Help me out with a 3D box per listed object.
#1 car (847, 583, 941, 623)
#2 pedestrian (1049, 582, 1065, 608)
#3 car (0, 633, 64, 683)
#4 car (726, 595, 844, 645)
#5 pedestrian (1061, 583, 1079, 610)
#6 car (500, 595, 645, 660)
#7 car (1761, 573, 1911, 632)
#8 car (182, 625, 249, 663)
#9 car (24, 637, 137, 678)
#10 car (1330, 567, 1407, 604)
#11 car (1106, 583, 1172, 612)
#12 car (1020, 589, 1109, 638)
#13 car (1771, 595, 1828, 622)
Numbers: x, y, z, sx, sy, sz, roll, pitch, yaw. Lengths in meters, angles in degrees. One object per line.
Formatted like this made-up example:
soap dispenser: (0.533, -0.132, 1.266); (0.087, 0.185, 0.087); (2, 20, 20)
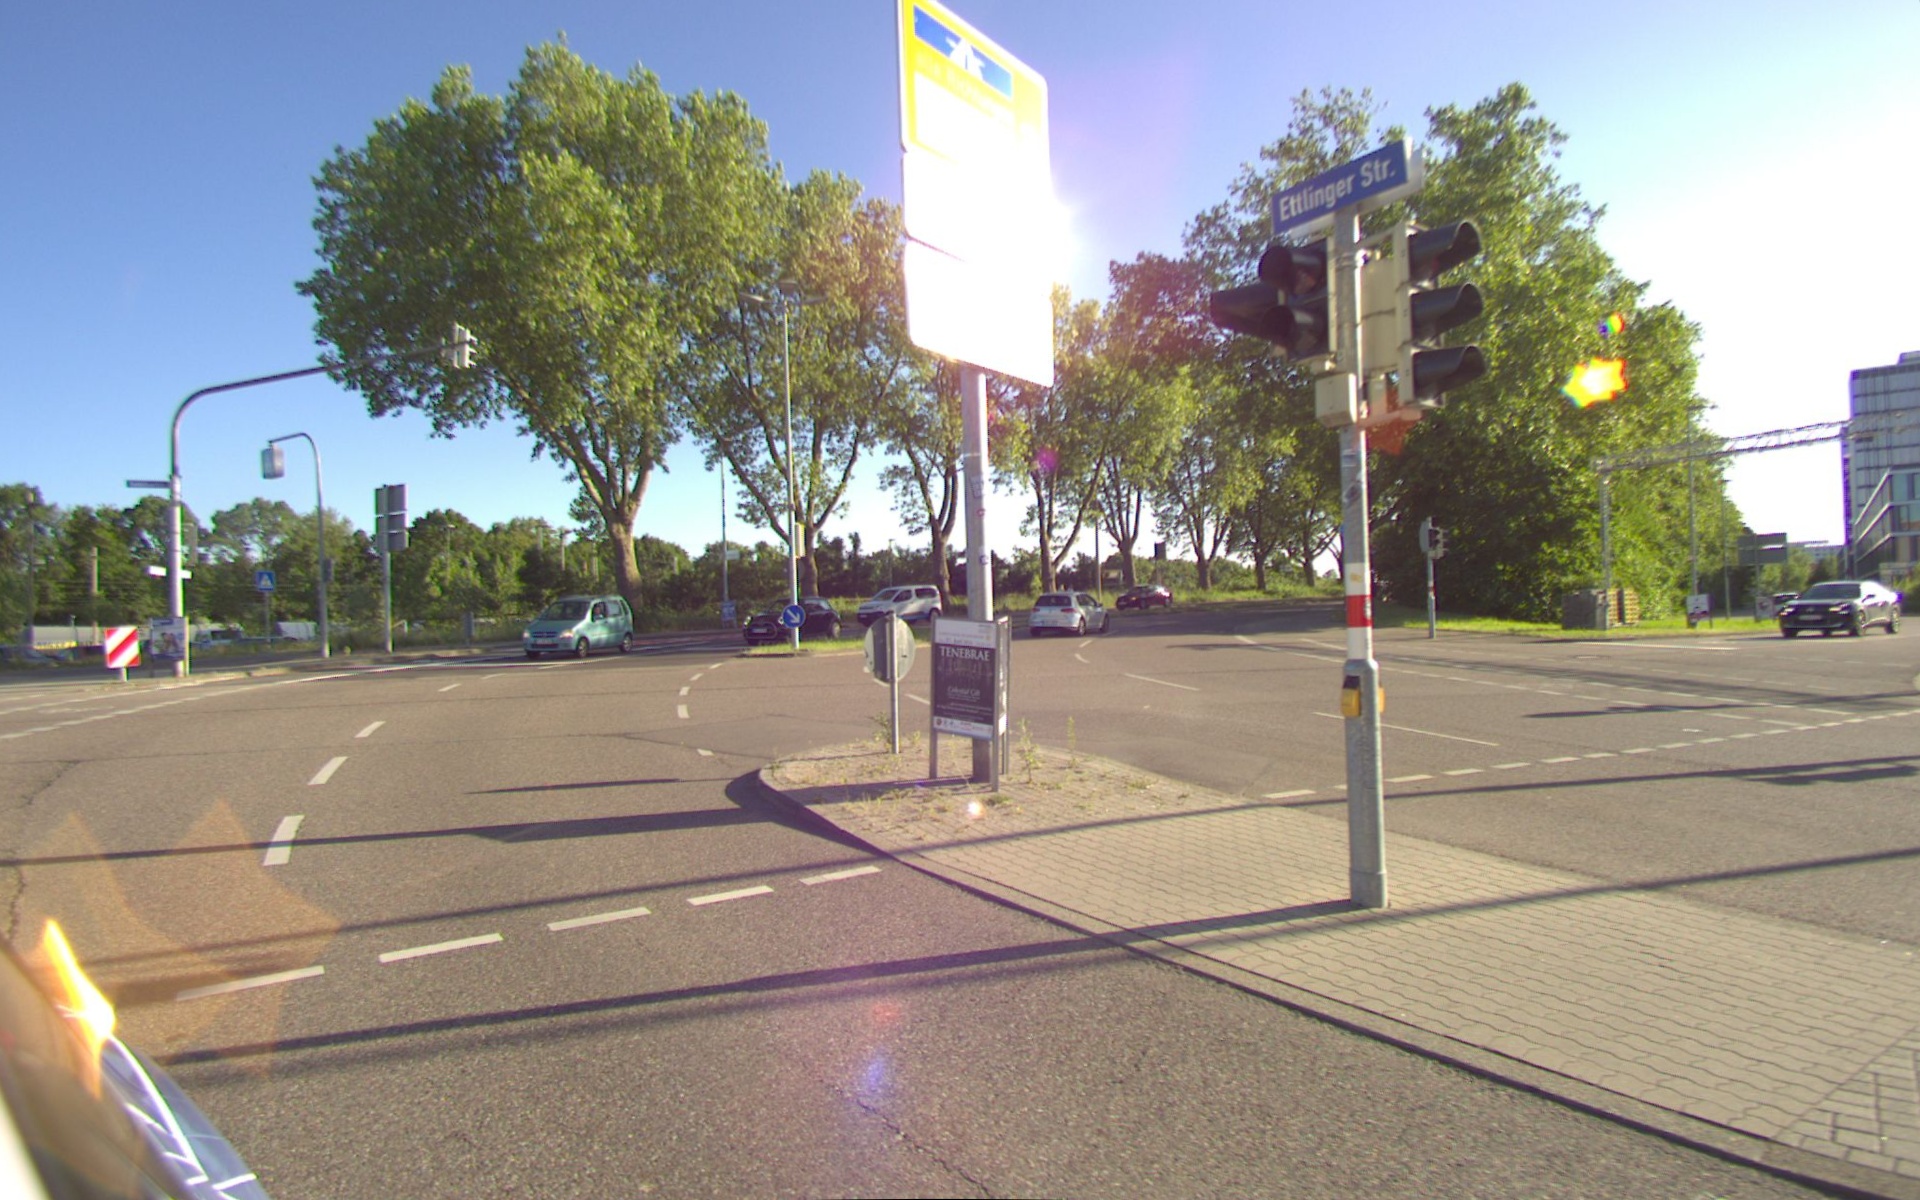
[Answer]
car: (-3.051, 0.134, 47.457); (4.203, 1.756, 1.861); (-2, 0, -44)
pedestrian: (6.095, -0.298, 63.541); (0.665, 1.598, 0.622); (-2, 0, 44)
car: (-35.146, 2.122, 36.939); (3.965, 1.696, 1.831); (-2, 0, 17)
car: (-5.453, 0.593, 32.010); (1.896, 1.438, 3.908); (-1, 0, 22)
pedestrian: (6.809, -0.225, 62.863); (0.731, 1.604, 0.793); (-2, 0, 44)
car: (-10.637, 0.700, 28.133); (1.900, 1.648, 4.108); (-1, 0, 10)
car: (24.707, 0.064, 28.545); (3.931, 1.487, 1.759); (-2, 0, -26)
car: (-40.172, 2.368, 54.549); (2.168, 1.852, 5.028); (-2, 0, -45)
car: (-34.288, 2.223, 39.466); (3.972, 1.470, 1.717); (-1, 0, 22)
car: (22.315, -0.798, 55.220); (4.741, 1.901, 2.121); (-2, 0, -44)
car: (10.978, -0.158, 61.919); (4.261, 1.611, 1.861); (-2, 0, -44)
car: (3.541, 0.419, 33.755); (1.963, 1.438, 3.909); (-2, 1, 21)
car: (49.880, 0.473, 60.204); (1.745, 1.487, 3.962); (-2, 0, 28)
